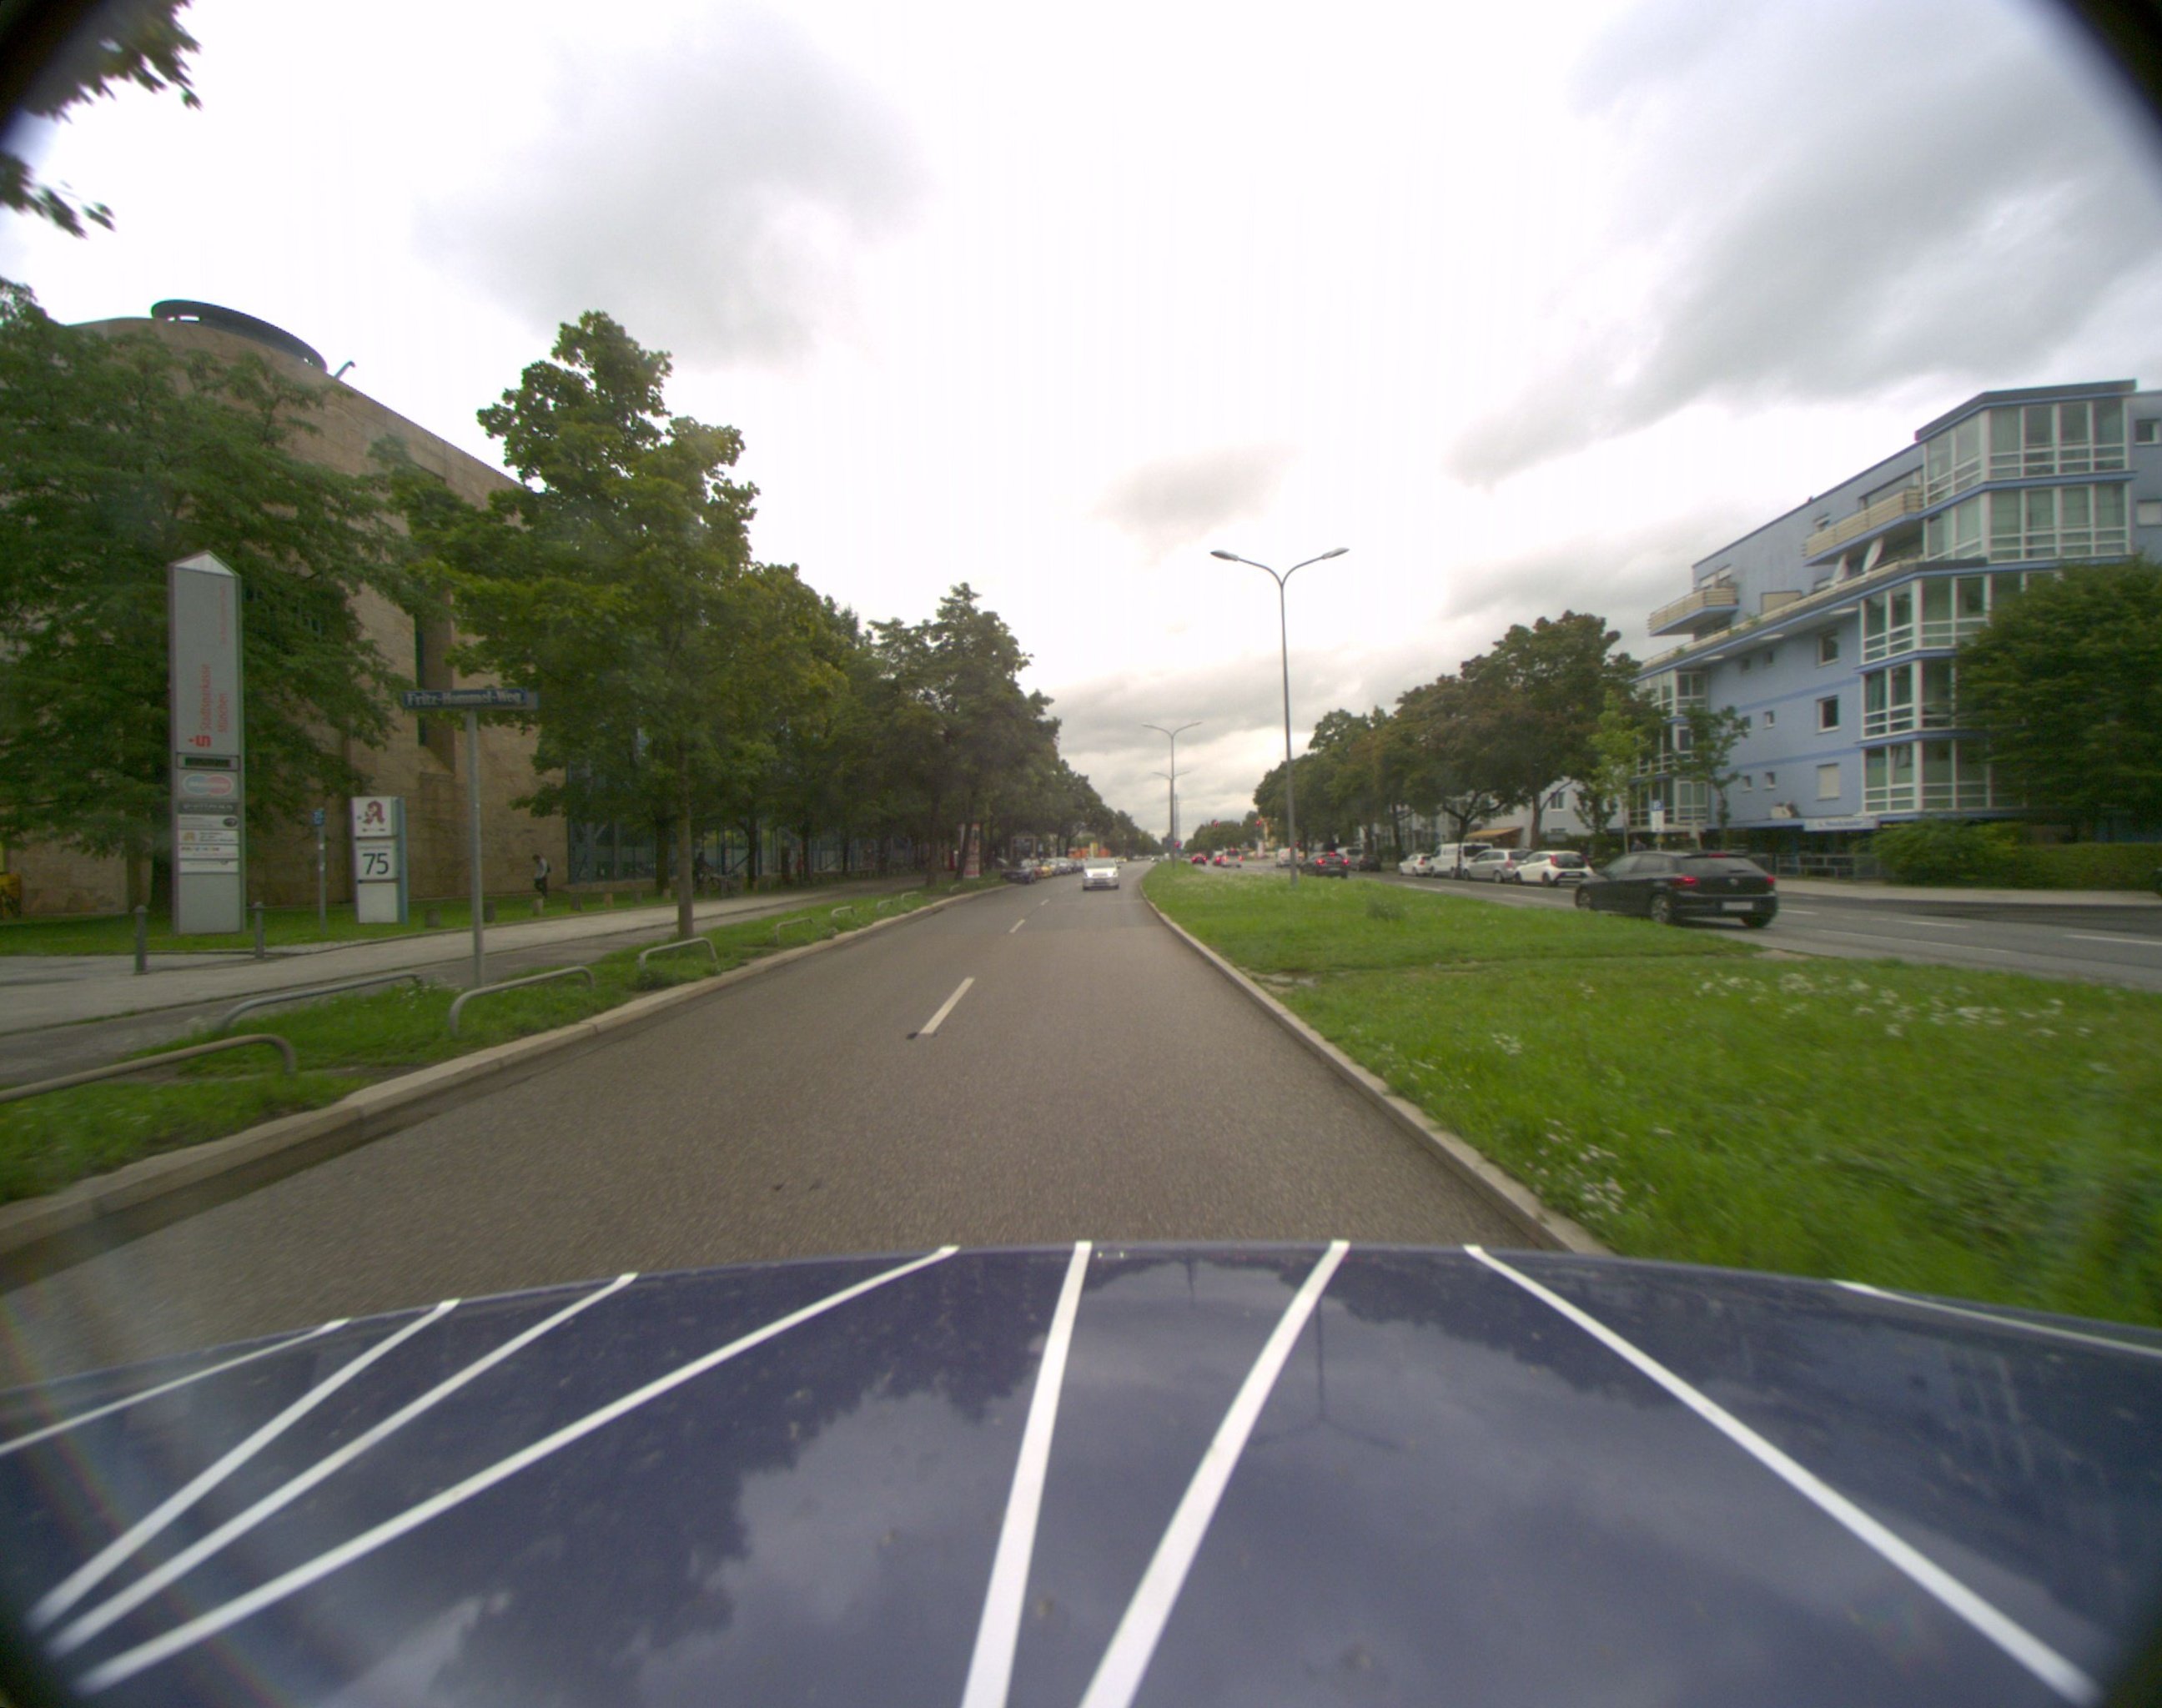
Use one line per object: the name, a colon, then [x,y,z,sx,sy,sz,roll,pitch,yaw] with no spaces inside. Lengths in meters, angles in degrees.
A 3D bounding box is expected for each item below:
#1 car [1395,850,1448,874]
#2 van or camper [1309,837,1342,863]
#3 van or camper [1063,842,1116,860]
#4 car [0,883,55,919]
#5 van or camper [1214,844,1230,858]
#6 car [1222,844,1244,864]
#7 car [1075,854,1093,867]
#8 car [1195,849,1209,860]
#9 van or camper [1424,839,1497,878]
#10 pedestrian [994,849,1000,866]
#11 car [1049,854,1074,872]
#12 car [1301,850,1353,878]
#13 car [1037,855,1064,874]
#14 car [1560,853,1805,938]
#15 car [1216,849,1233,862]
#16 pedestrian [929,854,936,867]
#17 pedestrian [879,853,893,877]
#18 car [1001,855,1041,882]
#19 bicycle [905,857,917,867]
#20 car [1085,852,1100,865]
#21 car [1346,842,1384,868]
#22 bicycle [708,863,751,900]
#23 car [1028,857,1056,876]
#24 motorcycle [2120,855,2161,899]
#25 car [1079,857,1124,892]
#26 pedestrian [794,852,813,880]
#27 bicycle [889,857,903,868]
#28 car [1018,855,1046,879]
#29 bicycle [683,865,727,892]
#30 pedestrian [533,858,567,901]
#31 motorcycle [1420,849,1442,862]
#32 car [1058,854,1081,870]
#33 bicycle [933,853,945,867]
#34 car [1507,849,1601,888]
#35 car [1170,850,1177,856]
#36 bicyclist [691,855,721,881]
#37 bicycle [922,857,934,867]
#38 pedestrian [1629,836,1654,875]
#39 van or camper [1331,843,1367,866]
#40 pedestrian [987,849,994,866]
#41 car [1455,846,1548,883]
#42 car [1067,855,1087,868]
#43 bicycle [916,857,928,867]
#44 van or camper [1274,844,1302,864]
car: [21.259,0.481,47.559,1.679,1.386,4.336,-1,0,5]
van or camper: [24.570,-0.376,76.522,2.054,2.472,5.550,-1,0,5]
van or camper: [1.769,-0.639,153.698,10.917,3.533,3.315,-1,1,-38]
car: [-32.570,1.436,22.794,0.678,1.008,2.077,-1,2,1]
van or camper: [18.451,-0.436,99.503,1.795,1.787,4.126,-1,0,7]
car: [16.292,-0.016,81.645,1.943,1.986,4.706,-1,0,7]
car: [0.382,0.700,84.636,1.589,1.395,3.736,-1,0,7]
car: [16.159,0.005,101.627,1.760,1.440,3.673,-1,0,7]
van or camper: [20.511,0.228,41.323,1.808,1.956,5.213,-1,0,6]
pedestrian: [-8.646,0.366,78.249,0.528,1.713,0.660,1,2,2]
car: [-1.710,0.758,68.420,1.681,1.522,4.098,-1,0,7]
car: [13.577,0.512,42.099,1.961,1.471,4.261,-1,0,7]
car: [-2.468,0.860,63.093,1.626,1.466,3.897,-1,0,7]
car: [11.431,0.696,14.869,1.786,1.397,4.103,-1,0,5]
car: [17.145,0.142,90.988,1.795,1.440,3.673,-1,0,7]
pedestrian: [-13.719,0.599,70.119,0.506,1.173,0.426,1,2,6]
pedestrian: [-13.352,0.727,51.957,0.738,1.636,0.645,1,2,5]
car: [-3.773,0.915,48.475,1.865,1.581,4.604,-1,0,4]
bicycle: [-15.592,0.729,69.702,0.618,0.935,1.763,-1,0,5]
car: [1.472,0.567,95.688,1.589,1.495,3.736,-1,0,7]
car: [22.795,0.094,61.079,1.800,1.986,4.548,-1,0,7]
bicycle: [-12.560,0.971,27.195,0.622,1.243,1.920,-1,1,0]
car: [-2.973,0.927,58.308,1.626,1.373,4.196,0,0,5]
motorcycle: [28.734,0.611,19.472,0.498,1.126,2.475,-1,1,-15]
car: [0.984,0.876,34.260,1.678,1.434,3.736,-1,0,7]
pedestrian: [-16.720,0.727,45.804,0.737,1.636,0.864,1,2,17]
bicycle: [-16.785,0.737,69.055,0.571,0.935,2.064,-1,1,5]
car: [-3.442,0.898,53.834,1.554,1.564,3.625,-1,0,4]
bicycle: [-16.827,1.068,34.039,0.725,1.123,1.769,0,1,18]
pedestrian: [-20.768,0.969,29.738,0.571,1.636,0.880,0,1,29]
motorcycle: [32.164,0.127,69.877,1.813,1.164,0.464,-1,1,2]
car: [-1.111,0.746,73.584,1.681,1.497,3.736,-1,0,7]
bicycle: [-13.202,0.553,70.742,0.512,1.185,2.142,-1,1,5]
car: [19.286,0.546,31.187,1.651,1.481,3.903,-1,0,5]
car: [20.372,-0.164,167.312,1.589,1.259,3.736,-1,0,7]
bicyclist: [-16.820,0.632,34.078,0.725,1.123,0.960,0,1,18]
bicycle: [-14.229,0.725,70.683,0.512,0.935,2.142,-1,0,5]
pedestrian: [25.757,0.065,34.913,0.643,1.795,0.780,-1,1,11]
van or camper: [23.567,0.031,67.067,2.025,1.930,4.706,-1,0,7]
pedestrian: [-9.333,0.354,78.223,0.612,1.680,0.612,1,2,2]
car: [19.788,0.443,36.019,1.703,1.606,4.663,-1,0,-2]
car: [-0.411,0.785,79.054,1.589,1.310,3.736,-1,0,7]
bicycle: [-14.802,0.756,70.655,0.512,0.935,2.142,-1,0,5]
van or camper: [21.357,0.003,78.512,2.019,2.004,5.200,-1,0,6]
